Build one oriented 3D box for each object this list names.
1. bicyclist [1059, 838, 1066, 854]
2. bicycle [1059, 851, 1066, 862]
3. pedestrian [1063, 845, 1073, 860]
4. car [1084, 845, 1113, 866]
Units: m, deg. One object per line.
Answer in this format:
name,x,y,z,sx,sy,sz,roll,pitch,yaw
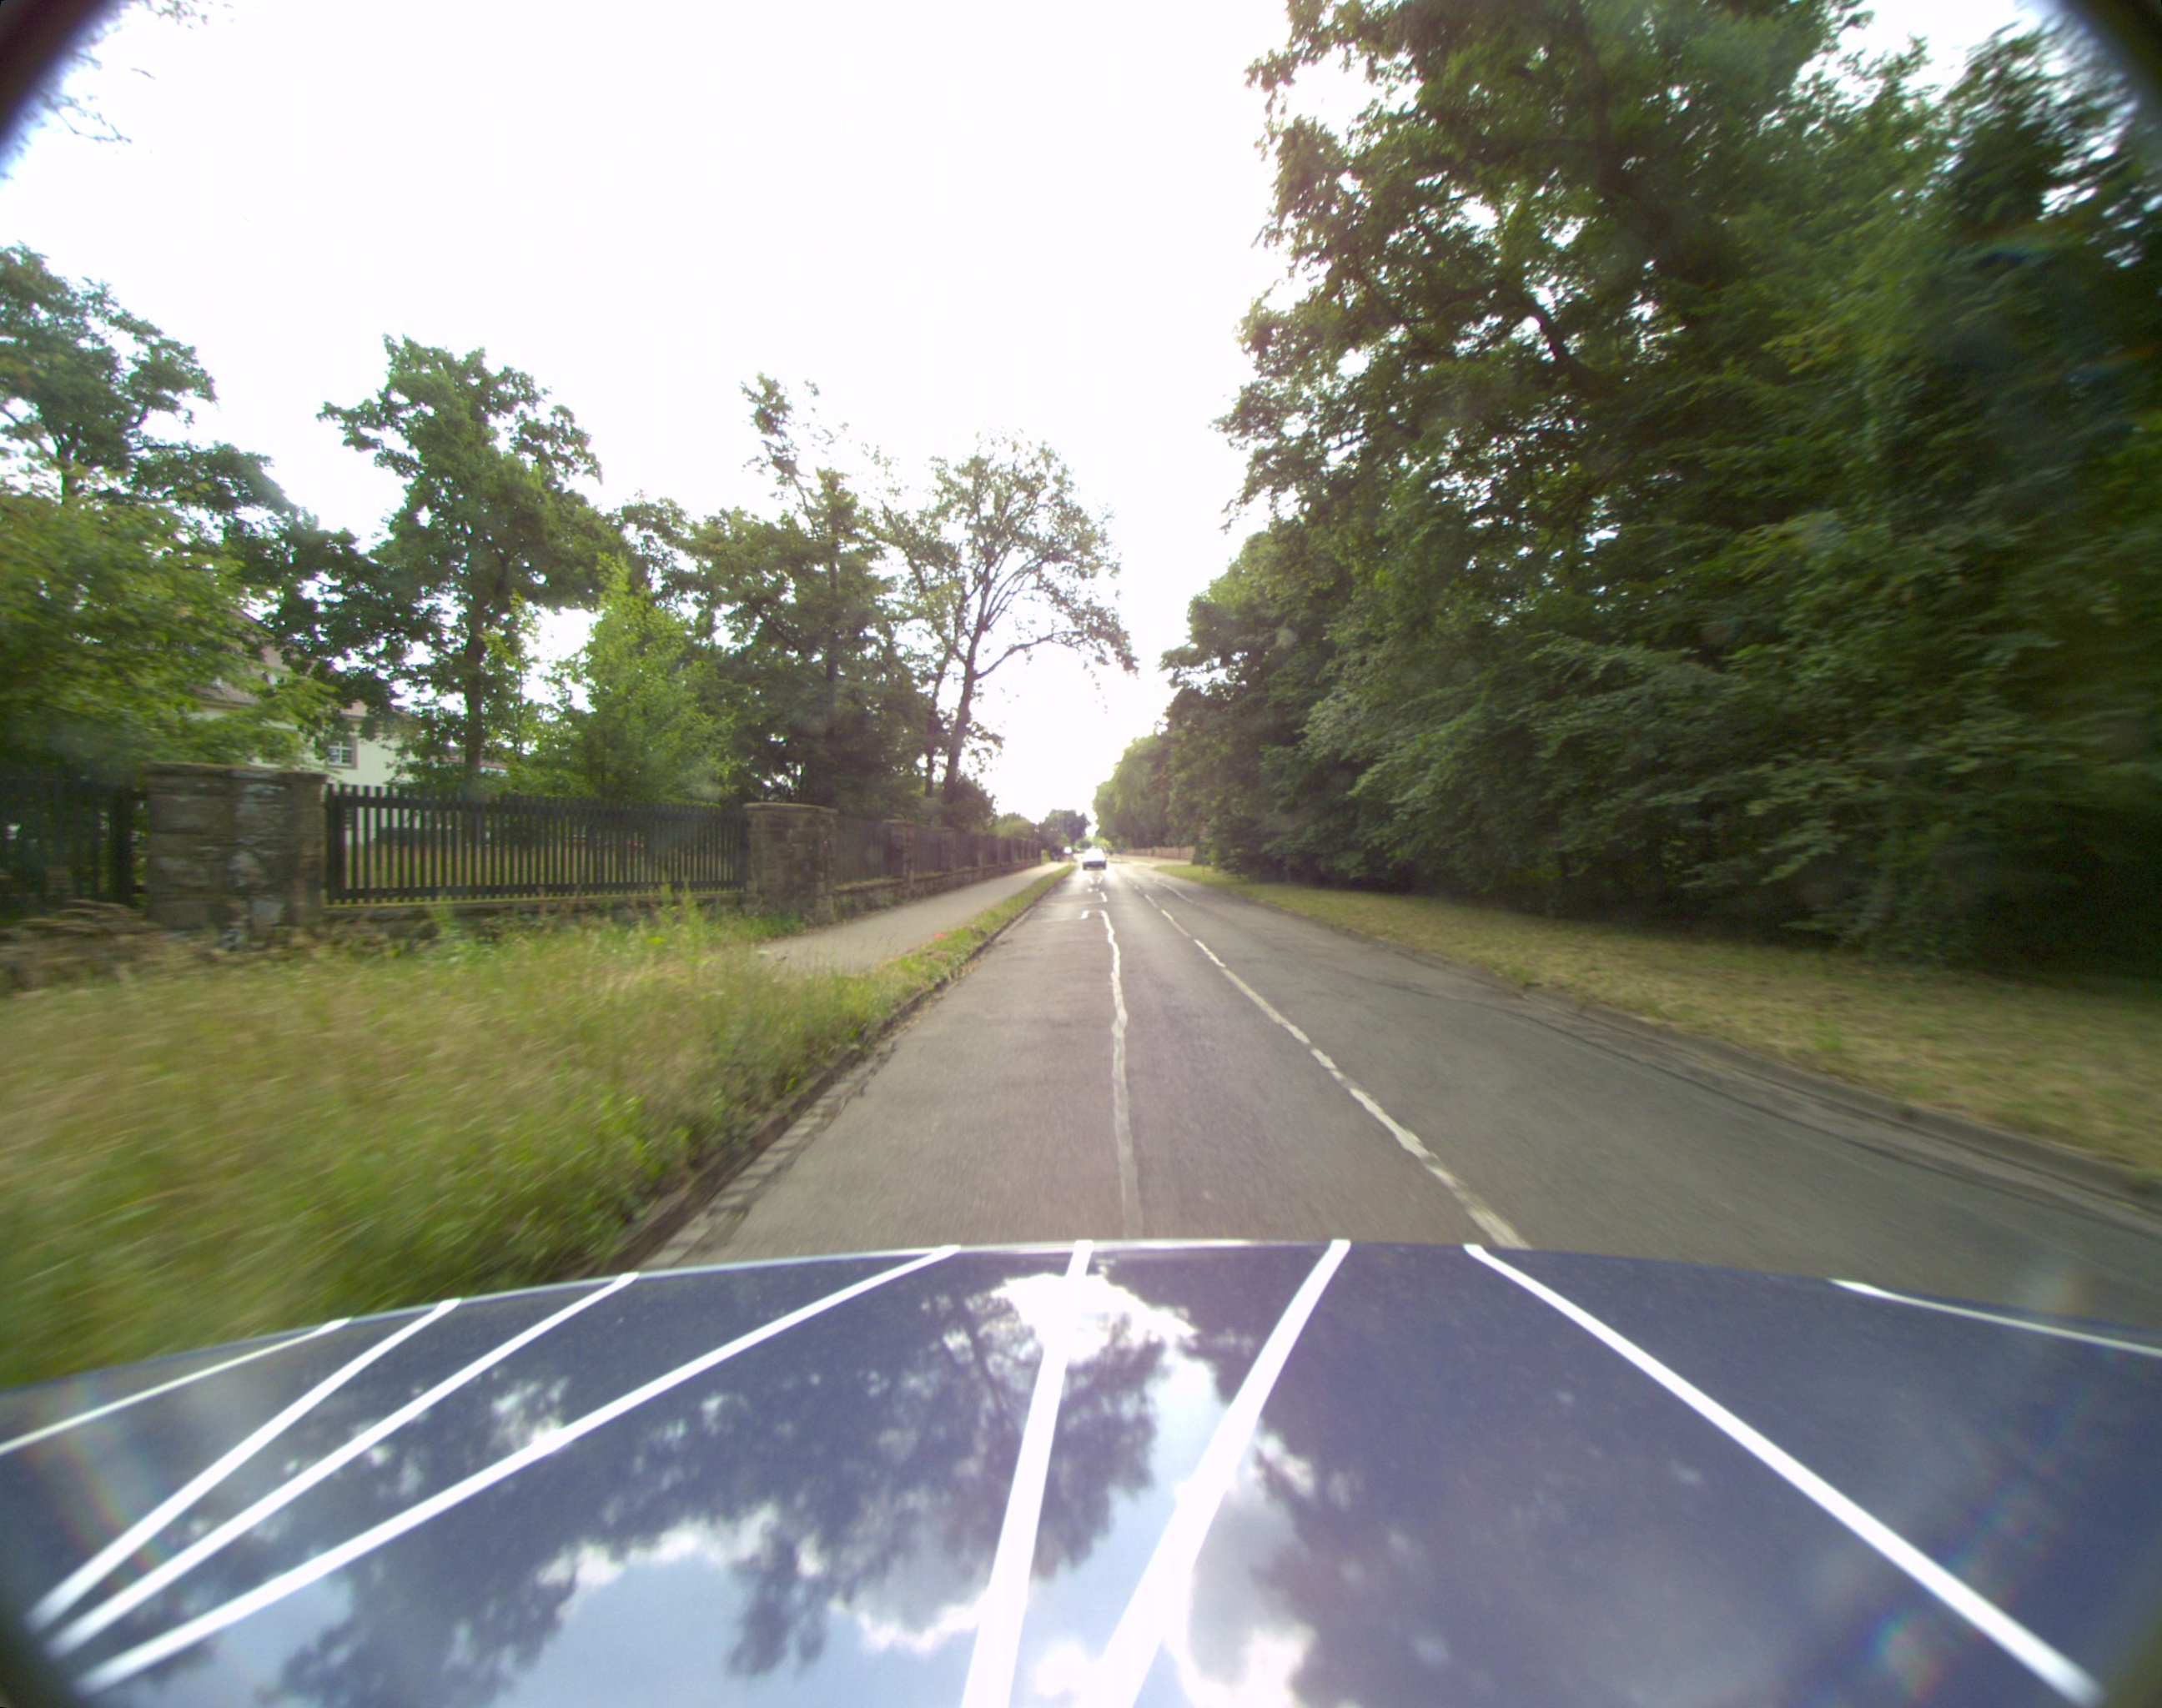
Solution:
bicyclist,-1.872,-0.834,77.729,0.571,1.579,1.205,2,1,1
bicycle,-1.897,0.254,77.714,0.559,1.066,2.157,2,0,1
pedestrian,-1.447,-0.197,84.357,0.831,1.641,0.626,1,0,17
car,1.230,0.136,56.305,1.965,1.455,4.530,-1,-1,0
